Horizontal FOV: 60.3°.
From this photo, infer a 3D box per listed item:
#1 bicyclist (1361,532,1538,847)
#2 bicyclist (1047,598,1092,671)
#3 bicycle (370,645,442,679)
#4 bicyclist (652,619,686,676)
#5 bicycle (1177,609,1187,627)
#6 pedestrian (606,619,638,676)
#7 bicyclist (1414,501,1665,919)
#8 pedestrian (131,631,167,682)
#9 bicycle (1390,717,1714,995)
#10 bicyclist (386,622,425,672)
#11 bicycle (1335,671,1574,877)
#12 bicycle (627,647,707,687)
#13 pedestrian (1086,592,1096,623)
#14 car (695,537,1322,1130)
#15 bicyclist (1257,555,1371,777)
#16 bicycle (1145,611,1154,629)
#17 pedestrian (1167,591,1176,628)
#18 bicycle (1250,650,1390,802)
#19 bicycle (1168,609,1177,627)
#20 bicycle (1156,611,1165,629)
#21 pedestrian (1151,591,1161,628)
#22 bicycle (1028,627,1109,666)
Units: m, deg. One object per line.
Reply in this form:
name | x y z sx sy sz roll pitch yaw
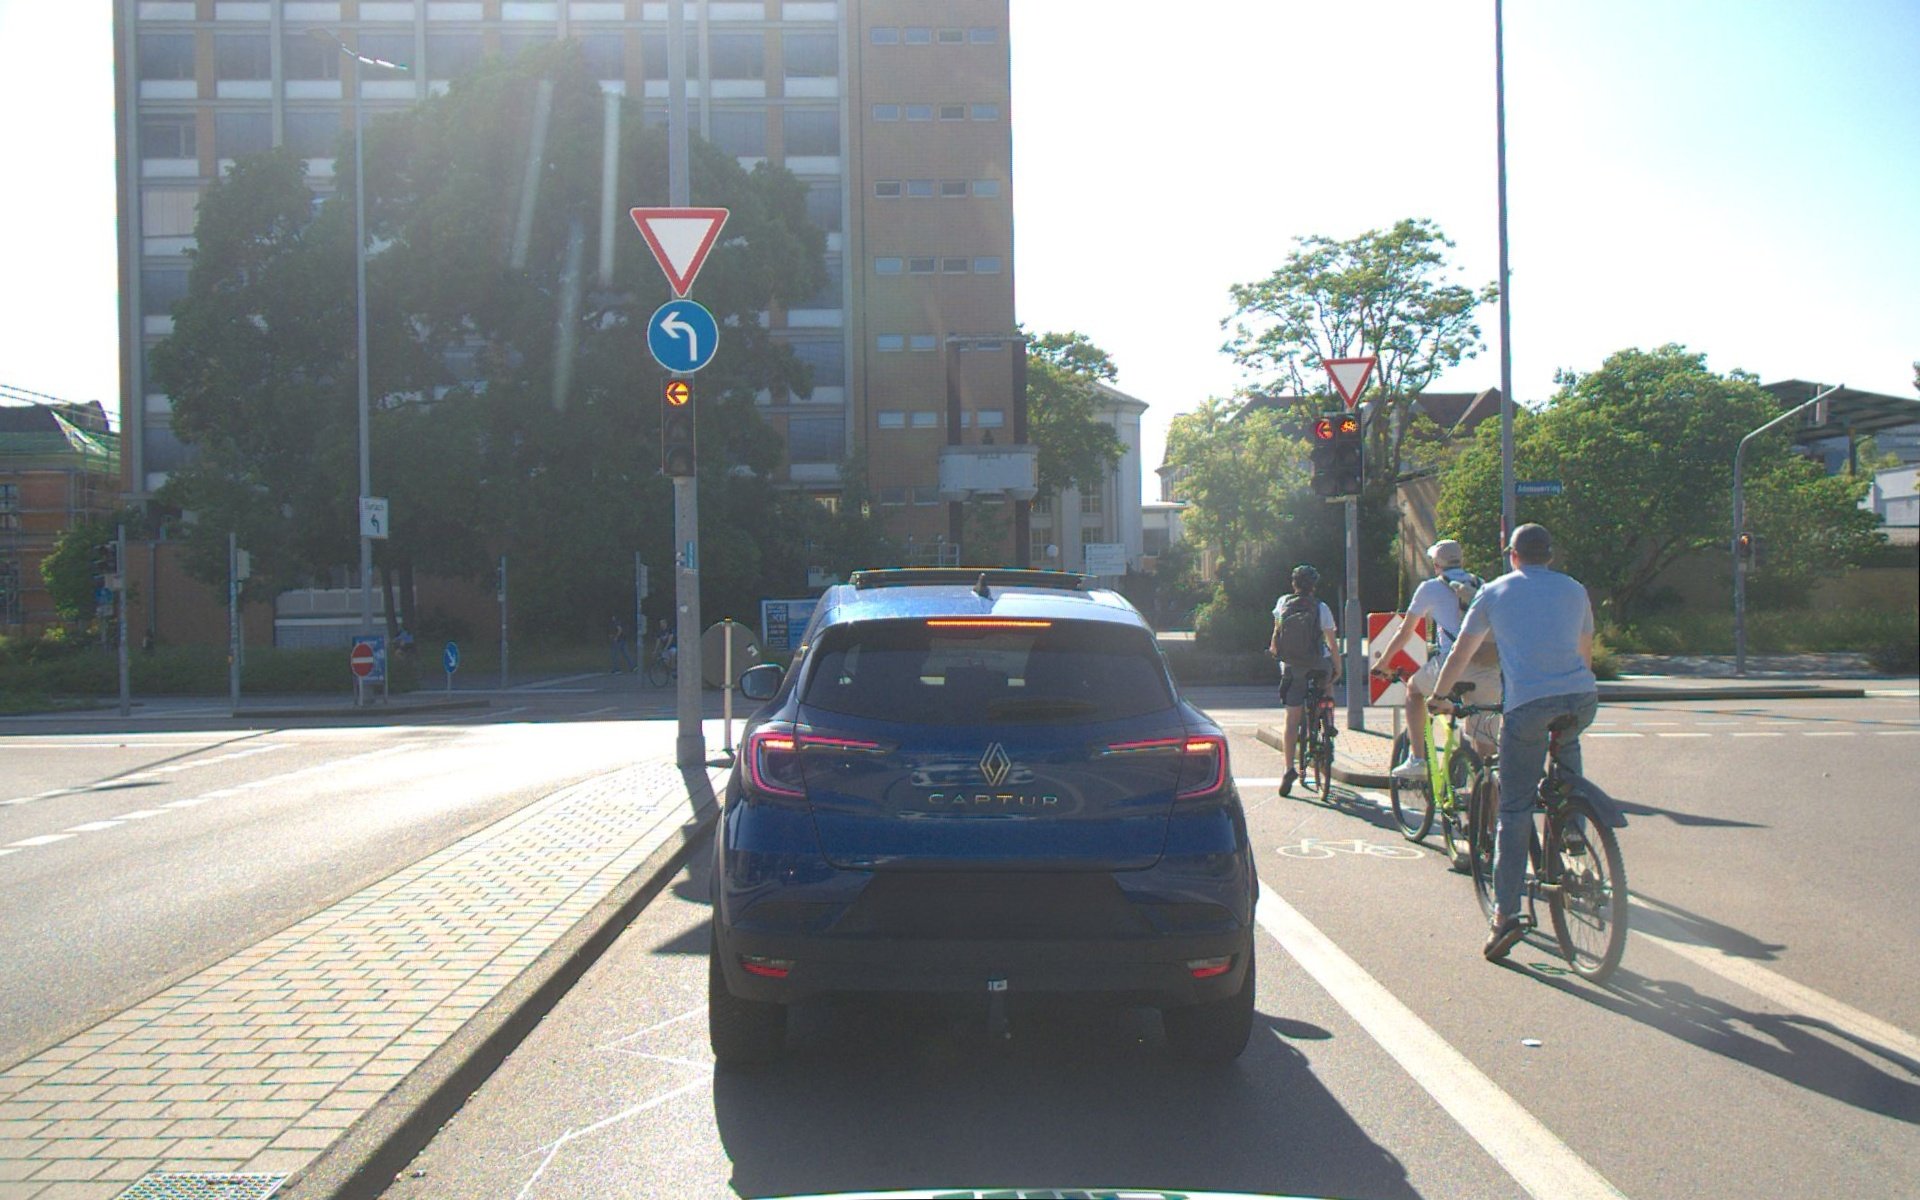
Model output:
bicyclist | 2.885 0.508 9.841 0.633 1.769 1.065 1 0 -6
bicyclist | 2.889 0.896 43.638 1.078 1.900 0.653 -1 0 10
bicycle | -16.597 1.868 49.529 2.032 0.981 0.599 -1 0 15
bicyclist | -7.668 1.239 43.645 0.728 1.466 0.593 -1 0 -27
bicycle | 12.684 1.031 94.589 0.397 0.990 1.684 1 0 3
pedestrian | -9.937 1.397 48.602 0.721 1.631 0.599 -1 0 12
bicyclist | 2.511 0.452 7.271 0.736 1.698 1.016 1 0 0
pedestrian | -26.554 1.843 54.158 0.843 1.598 0.559 -5 0 26
bicycle | 2.506 1.044 7.273 0.725 0.911 1.978 1 0 0
bicyclist | -16.608 1.400 49.532 0.916 1.454 0.599 -1 0 15
bicycle | 2.874 0.976 9.844 0.646 1.020 1.967 1 0 -6
bicycle | -7.716 1.763 43.618 1.982 0.981 0.593 -1 0 -28
pedestrian | 7.994 0.459 100.844 0.610 1.888 0.563 -1 0 4
car | 0.064 0.666 6.681 1.767 1.660 3.998 1 0 -3
bicyclist | 2.762 0.500 12.975 0.711 1.657 0.969 1 0 3
bicycle | 10.798 1.143 94.222 0.397 0.990 1.684 1 0 3
pedestrian | 11.831 0.538 92.562 0.465 2.049 0.468 -1 0 5
bicycle | 2.764 0.934 12.923 0.723 1.012 2.174 1 0 3
bicycle | 12.160 1.022 94.567 0.397 0.990 1.684 1 0 3
bicycle | 11.408 1.154 94.188 0.397 0.990 1.684 1 0 3
pedestrian | 10.800 0.514 91.195 0.465 2.049 0.523 -1 0 5
bicycle | 2.875 1.217 43.723 2.037 0.946 0.697 -2 1 10
